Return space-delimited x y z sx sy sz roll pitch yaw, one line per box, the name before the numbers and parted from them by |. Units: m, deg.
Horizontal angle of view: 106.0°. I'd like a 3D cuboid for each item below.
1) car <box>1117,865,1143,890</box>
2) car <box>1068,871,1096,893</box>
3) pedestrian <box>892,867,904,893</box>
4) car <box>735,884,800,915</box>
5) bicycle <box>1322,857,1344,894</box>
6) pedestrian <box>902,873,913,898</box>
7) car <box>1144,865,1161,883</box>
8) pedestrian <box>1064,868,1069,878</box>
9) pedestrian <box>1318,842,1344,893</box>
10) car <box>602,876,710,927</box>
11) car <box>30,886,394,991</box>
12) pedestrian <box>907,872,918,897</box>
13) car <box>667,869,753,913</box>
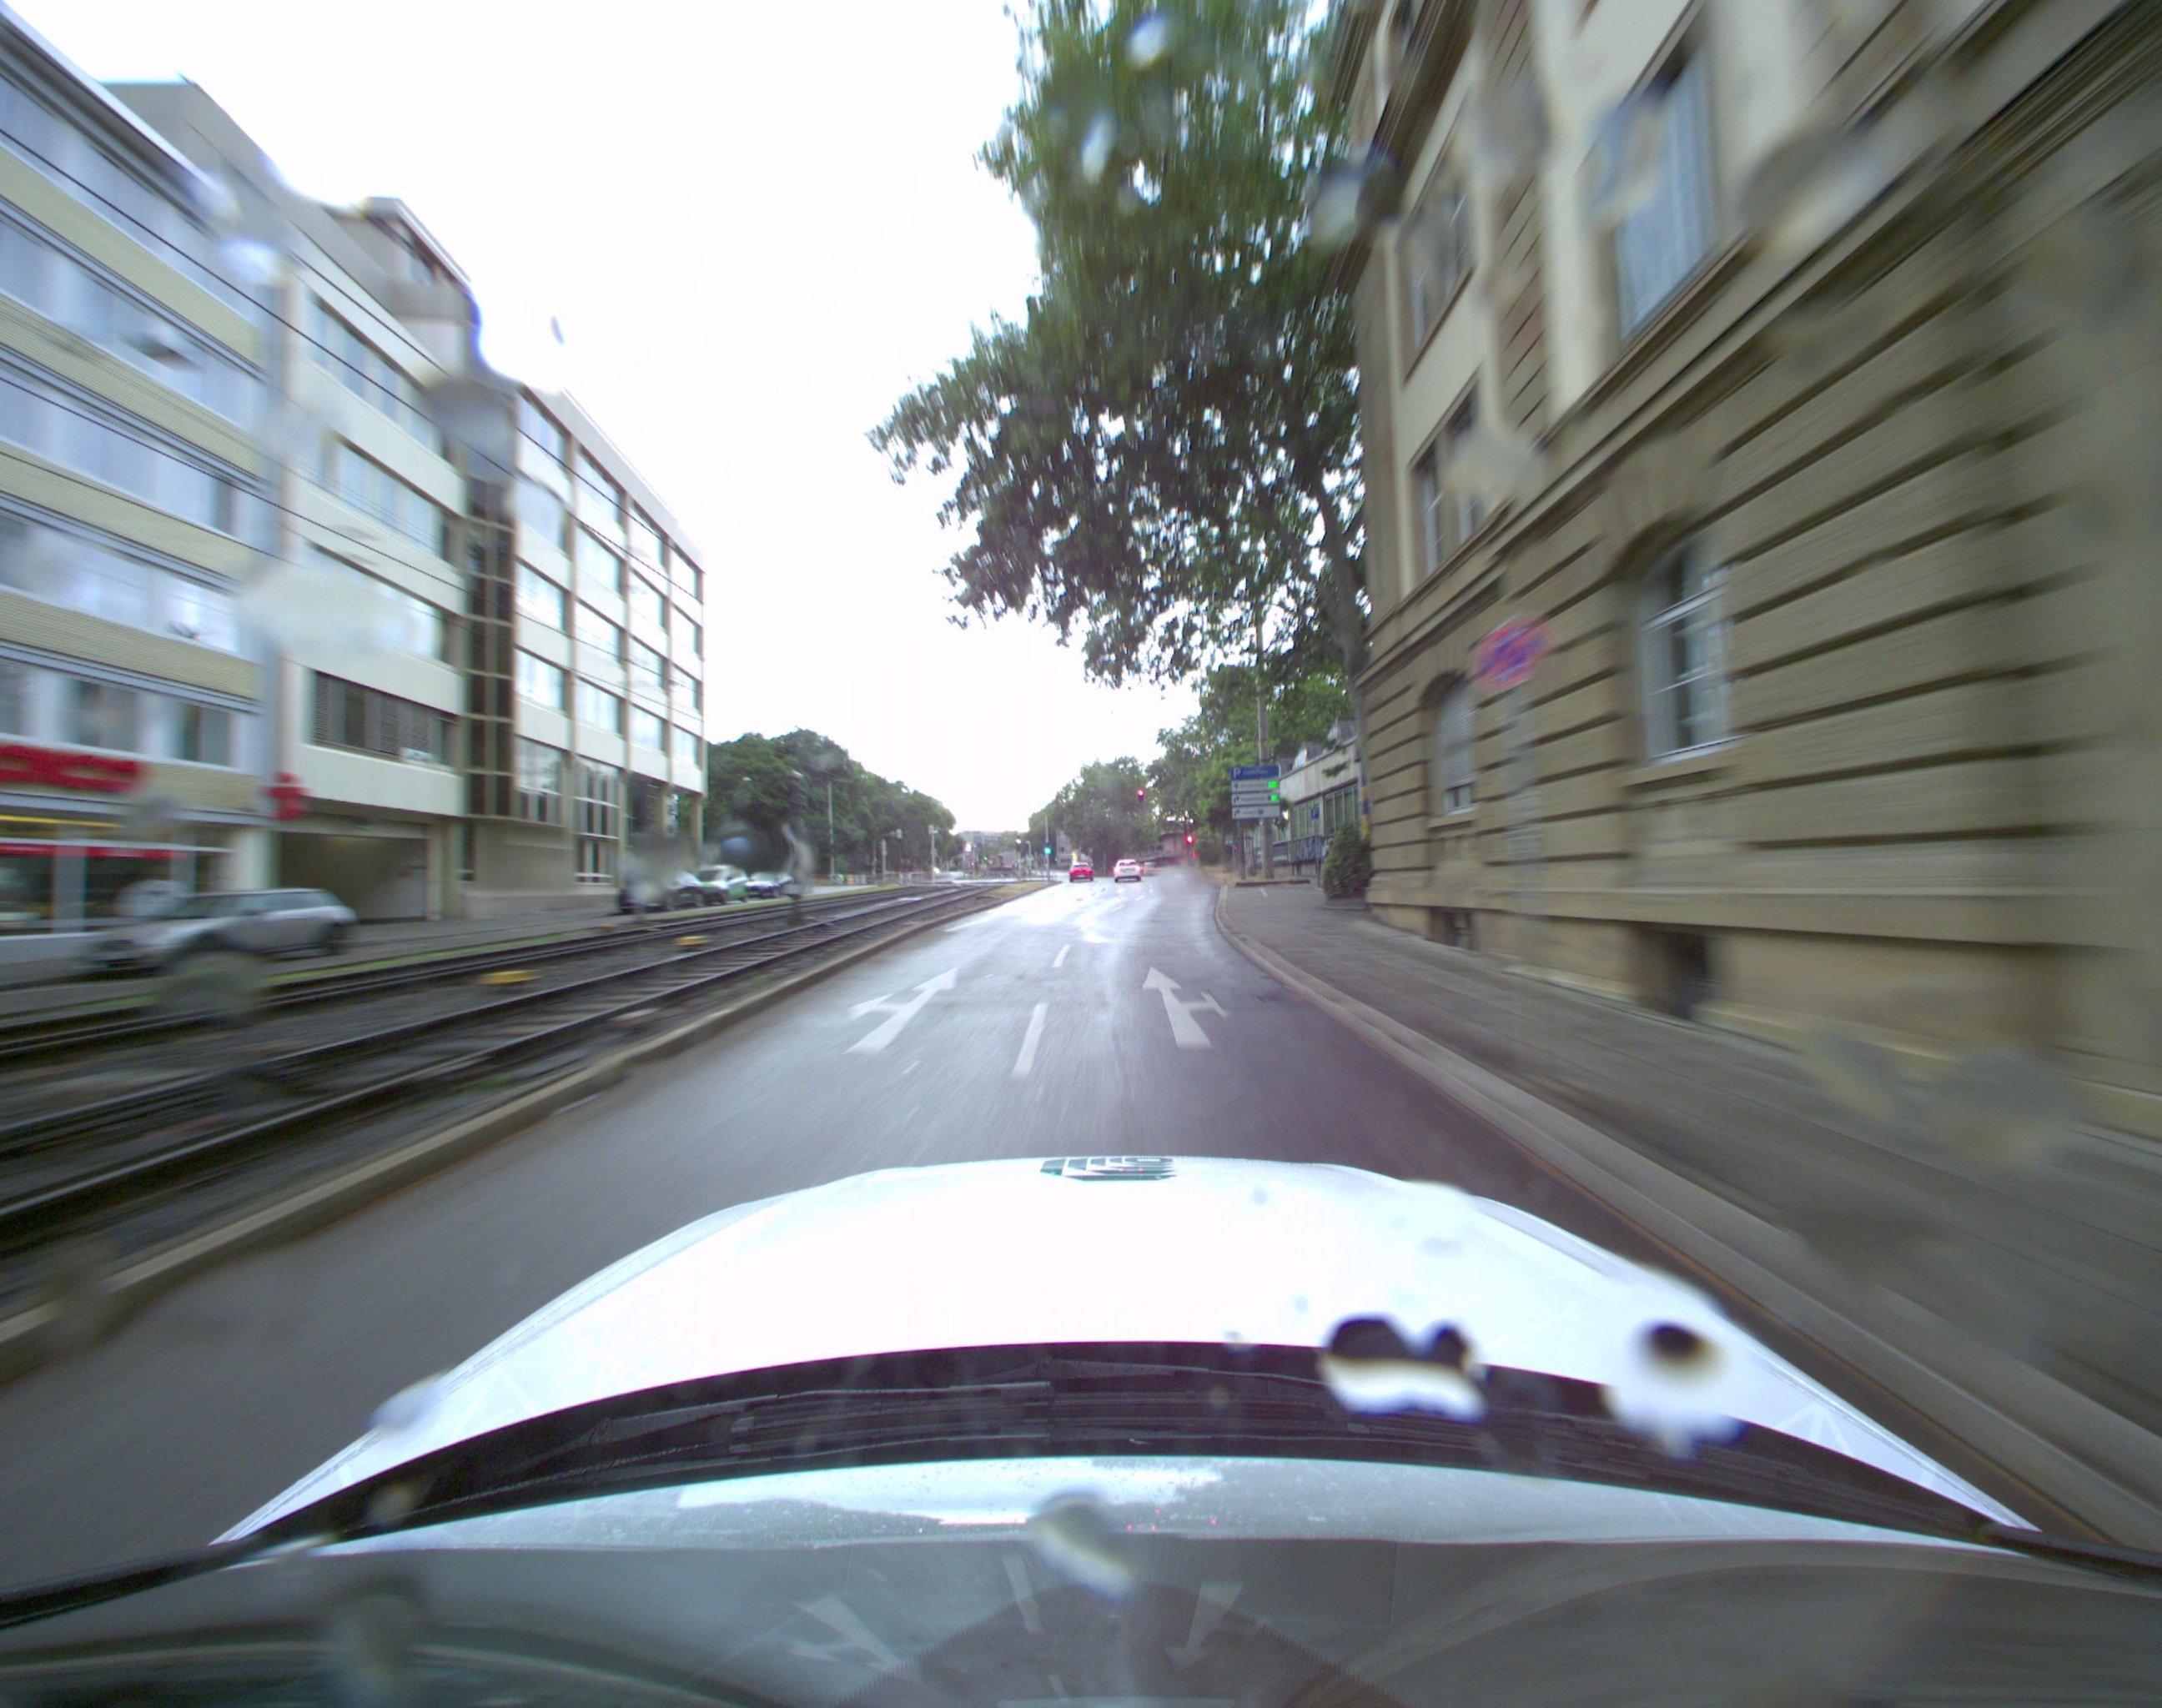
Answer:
car | 3.340 1.546 55.283 1.672 1.576 4.256 -2 -1 3
car | 0.099 2.136 61.497 1.973 1.640 4.417 0 -2 1
pedestrian | -13.027 1.845 57.899 0.642 1.788 0.804 1 -3 -25
car | -16.765 2.424 43.849 1.990 1.582 4.541 0 -2 -4
bicycle | 8.709 0.746 28.141 0.614 1.221 0.914 -4 -1 14
pedestrian | -12.379 2.240 58.203 0.641 1.788 0.805 1 -3 -20
car | 12.756 3.659 145.637 2.538 3.134 5.026 0 -2 -2
pedestrian | -2.676 3.592 150.563 0.756 1.824 0.698 0 -3 -10
pedestrian | 8.923 0.486 29.076 0.713 1.742 1.023 -5 -1 14
car | -16.601 1.815 32.116 1.990 1.850 4.687 0 -2 -4
car | -15.931 1.443 15.445 1.990 1.674 4.687 0 -2 -4
pedestrian | -11.870 2.138 57.385 0.641 1.788 0.805 1 -3 -20
car | -16.701 1.675 36.989 1.990 1.850 4.687 0 -2 -4
